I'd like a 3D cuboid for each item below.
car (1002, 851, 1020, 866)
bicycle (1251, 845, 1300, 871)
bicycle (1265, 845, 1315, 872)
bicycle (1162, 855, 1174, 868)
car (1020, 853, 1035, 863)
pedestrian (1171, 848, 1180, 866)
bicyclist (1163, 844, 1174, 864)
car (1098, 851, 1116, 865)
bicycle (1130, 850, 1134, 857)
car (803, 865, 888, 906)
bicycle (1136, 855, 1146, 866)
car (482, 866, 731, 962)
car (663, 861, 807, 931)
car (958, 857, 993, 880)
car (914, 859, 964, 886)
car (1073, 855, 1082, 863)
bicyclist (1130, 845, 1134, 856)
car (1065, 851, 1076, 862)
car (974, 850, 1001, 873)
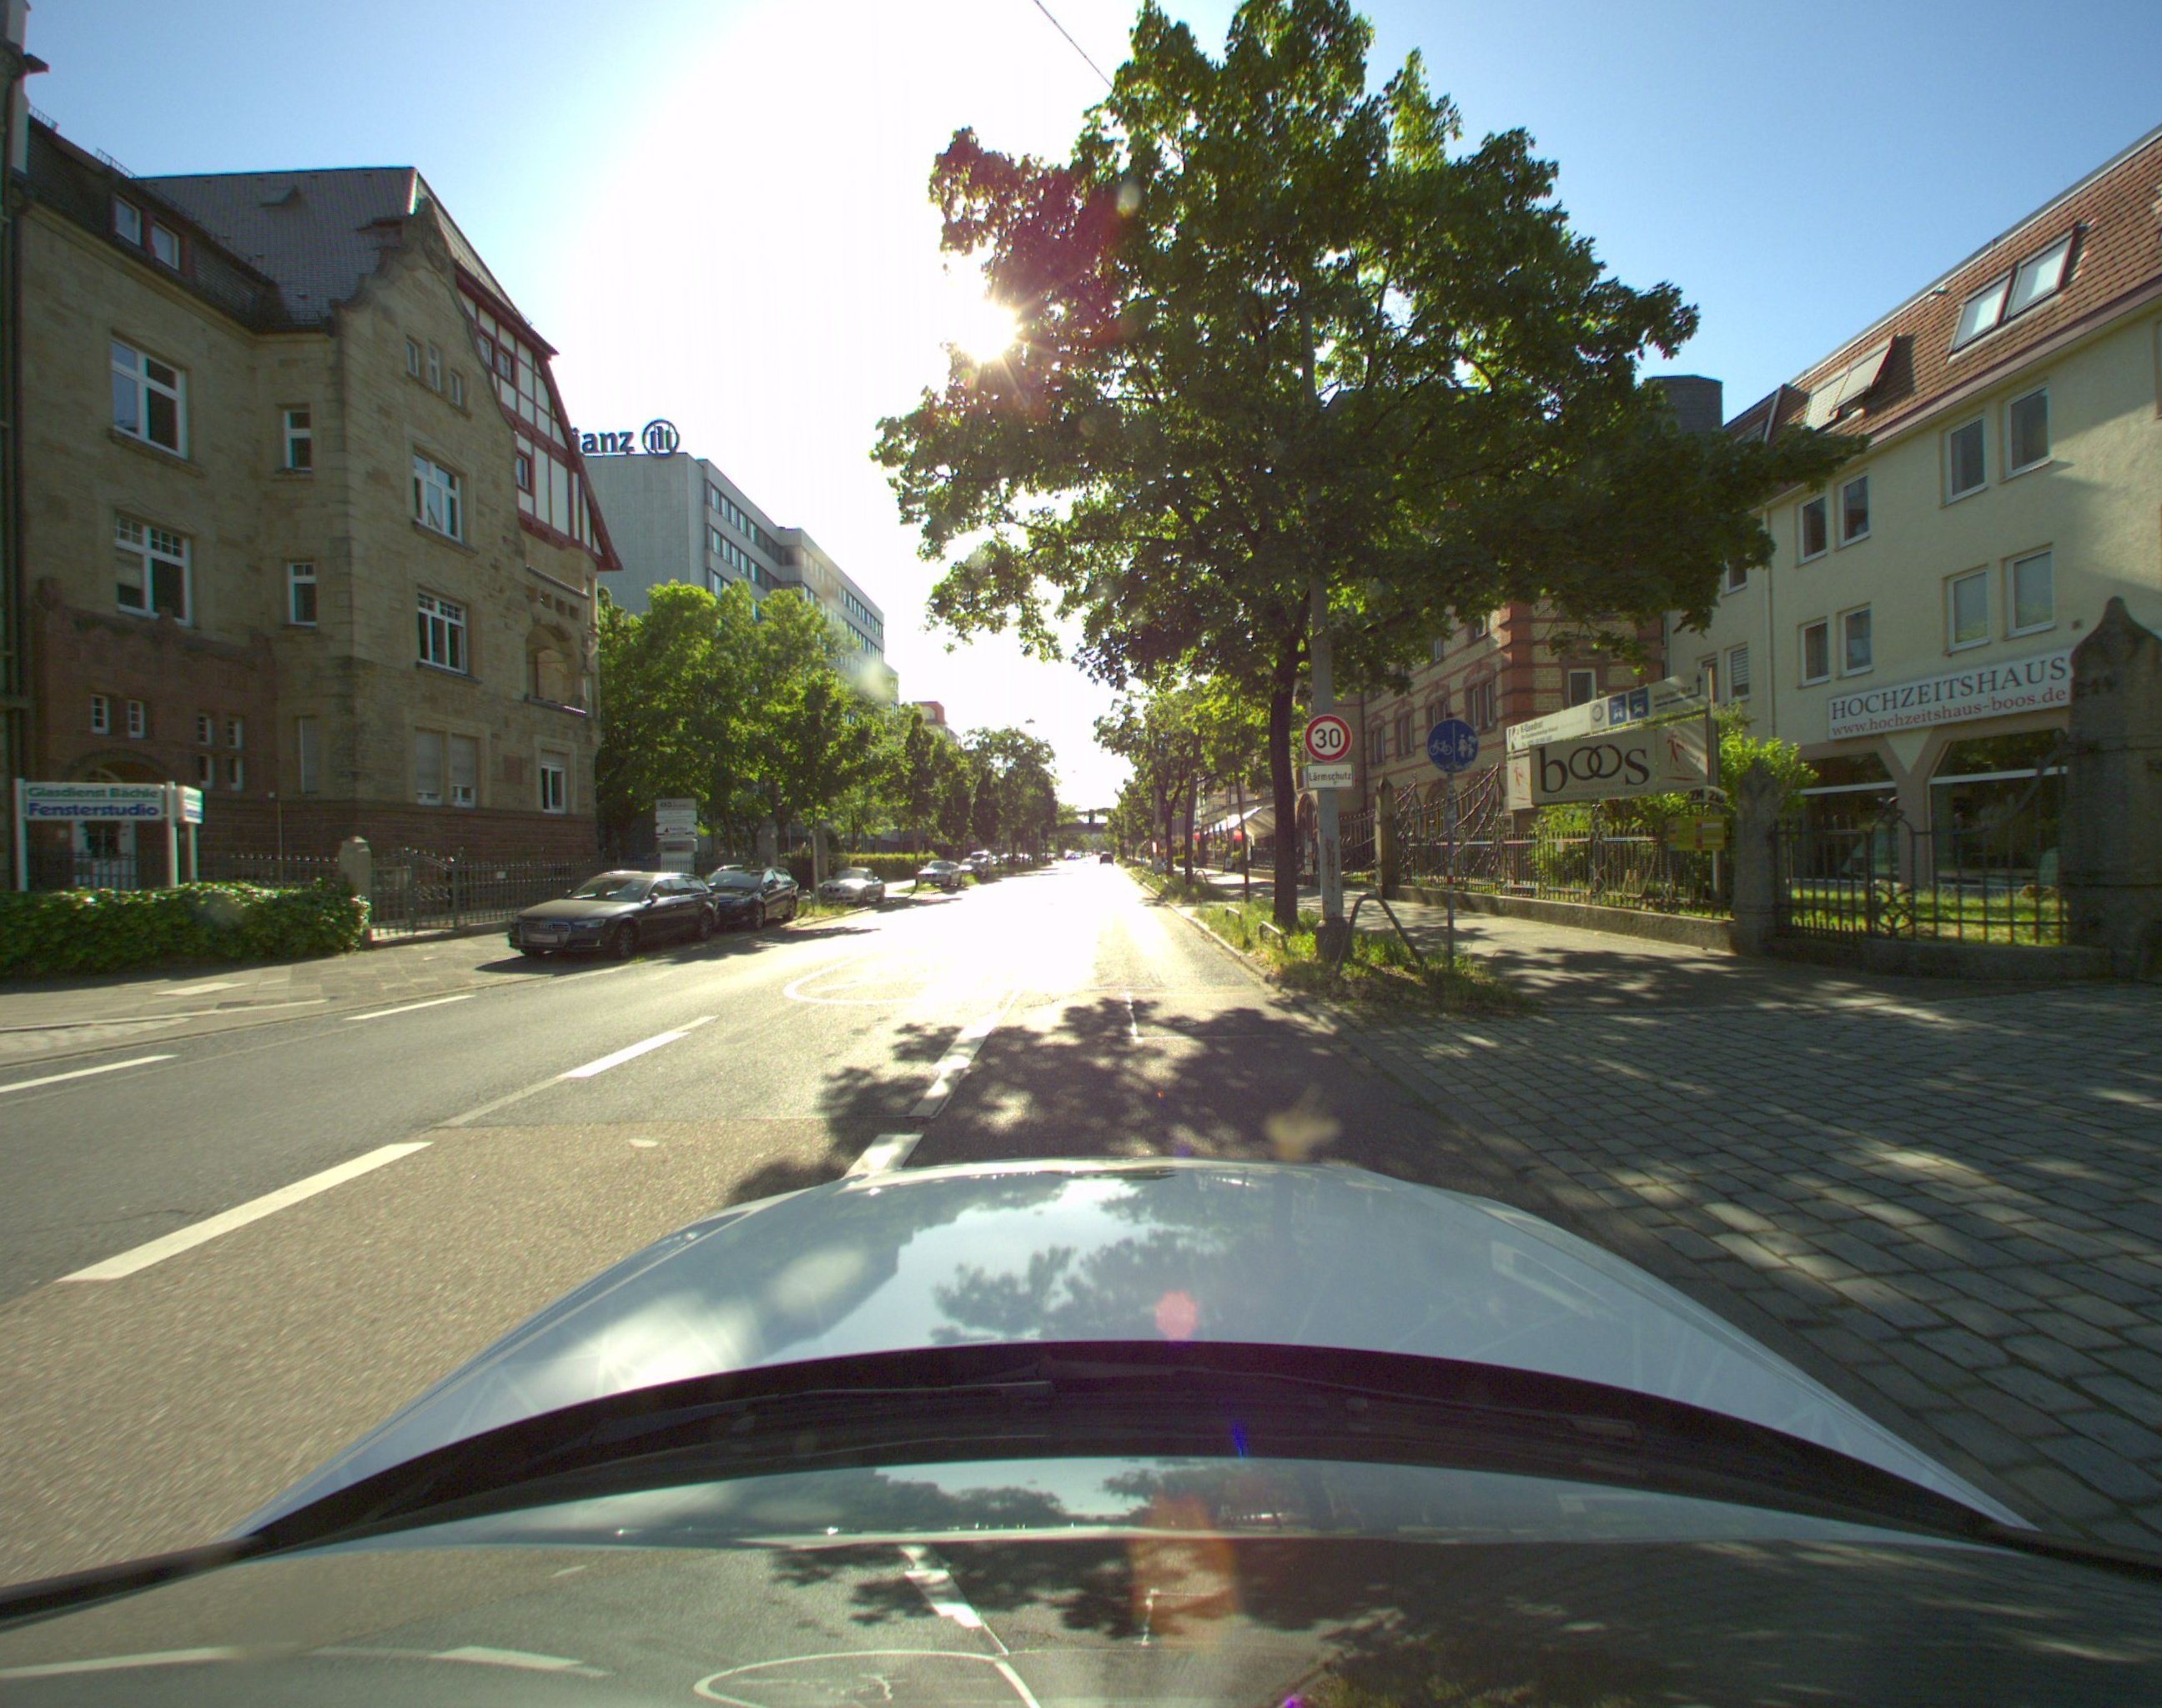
[{"bbox_3d":[-9.012,0.509,104.693,1.849,1.850,4.562,-1,0,0],"label":"car"},{"bbox_3d":[9.446,0.205,39.495,2.192,1.178,0.686,-1,-1,-5],"label":"bicycle"},{"bbox_3d":[9.813,0.210,38.284,2.192,1.178,0.686,-1,-1,-5],"label":"bicycle"},{"bbox_3d":[6.864,0.608,64.165,0.683,1.027,2.095,-1,-1,1],"label":"bicycle"},{"bbox_3d":[-8.026,0.596,122.288,1.849,1.523,4.319,-1,0,0],"label":"car"},{"bbox_3d":[8.934,0.260,76.805,0.652,1.604,0.602,-4,-1,-5],"label":"pedestrian"},{"bbox_3d":[6.874,0.000,64.116,0.698,1.599,0.955,-1,-1,0],"label":"bicyclist"},{"bbox_3d":[3.195,0.455,100.611,1.978,1.600,4.140,-1,0,0],"label":"car"},{"bbox_3d":[8.124,-0.117,129.876,0.587,1.027,1.860,-1,-1,1],"label":"bicycle"},{"bbox_3d":[-8.167,1.059,28.582,1.672,1.255,4.017,-1,0,2],"label":"car"},{"bbox_3d":[5.999,0.633,81.487,0.586,1.066,2.032,-1,0,18],"label":"bicycle"},{"bbox_3d":[-8.827,1.015,15.755,1.848,1.427,4.722,2,0,2],"label":"car"},{"bbox_3d":[-8.661,0.986,20.893,1.852,1.494,4.700,2,0,-3],"label":"car"},{"bbox_3d":[-7.209,0.950,56.073,1.705,1.458,4.075,-1,0,3],"label":"car"},{"bbox_3d":[-7.754,0.983,44.824,1.680,1.383,4.196,-1,0,4],"label":"car"},{"bbox_3d":[-0.841,1.149,179.462,1.849,1.568,4.716,-3,0,1],"label":"car"},{"bbox_3d":[8.105,-0.584,129.791,0.665,1.695,0.889,-1,-1,0],"label":"bicyclist"},{"bbox_3d":[-1.882,0.420,145.555,1.850,1.825,4.609,-3,0,0],"label":"car"},{"bbox_3d":[-8.921,0.679,78.298,1.975,2.076,5.194,-3,0,-1],"label":"car"}]
